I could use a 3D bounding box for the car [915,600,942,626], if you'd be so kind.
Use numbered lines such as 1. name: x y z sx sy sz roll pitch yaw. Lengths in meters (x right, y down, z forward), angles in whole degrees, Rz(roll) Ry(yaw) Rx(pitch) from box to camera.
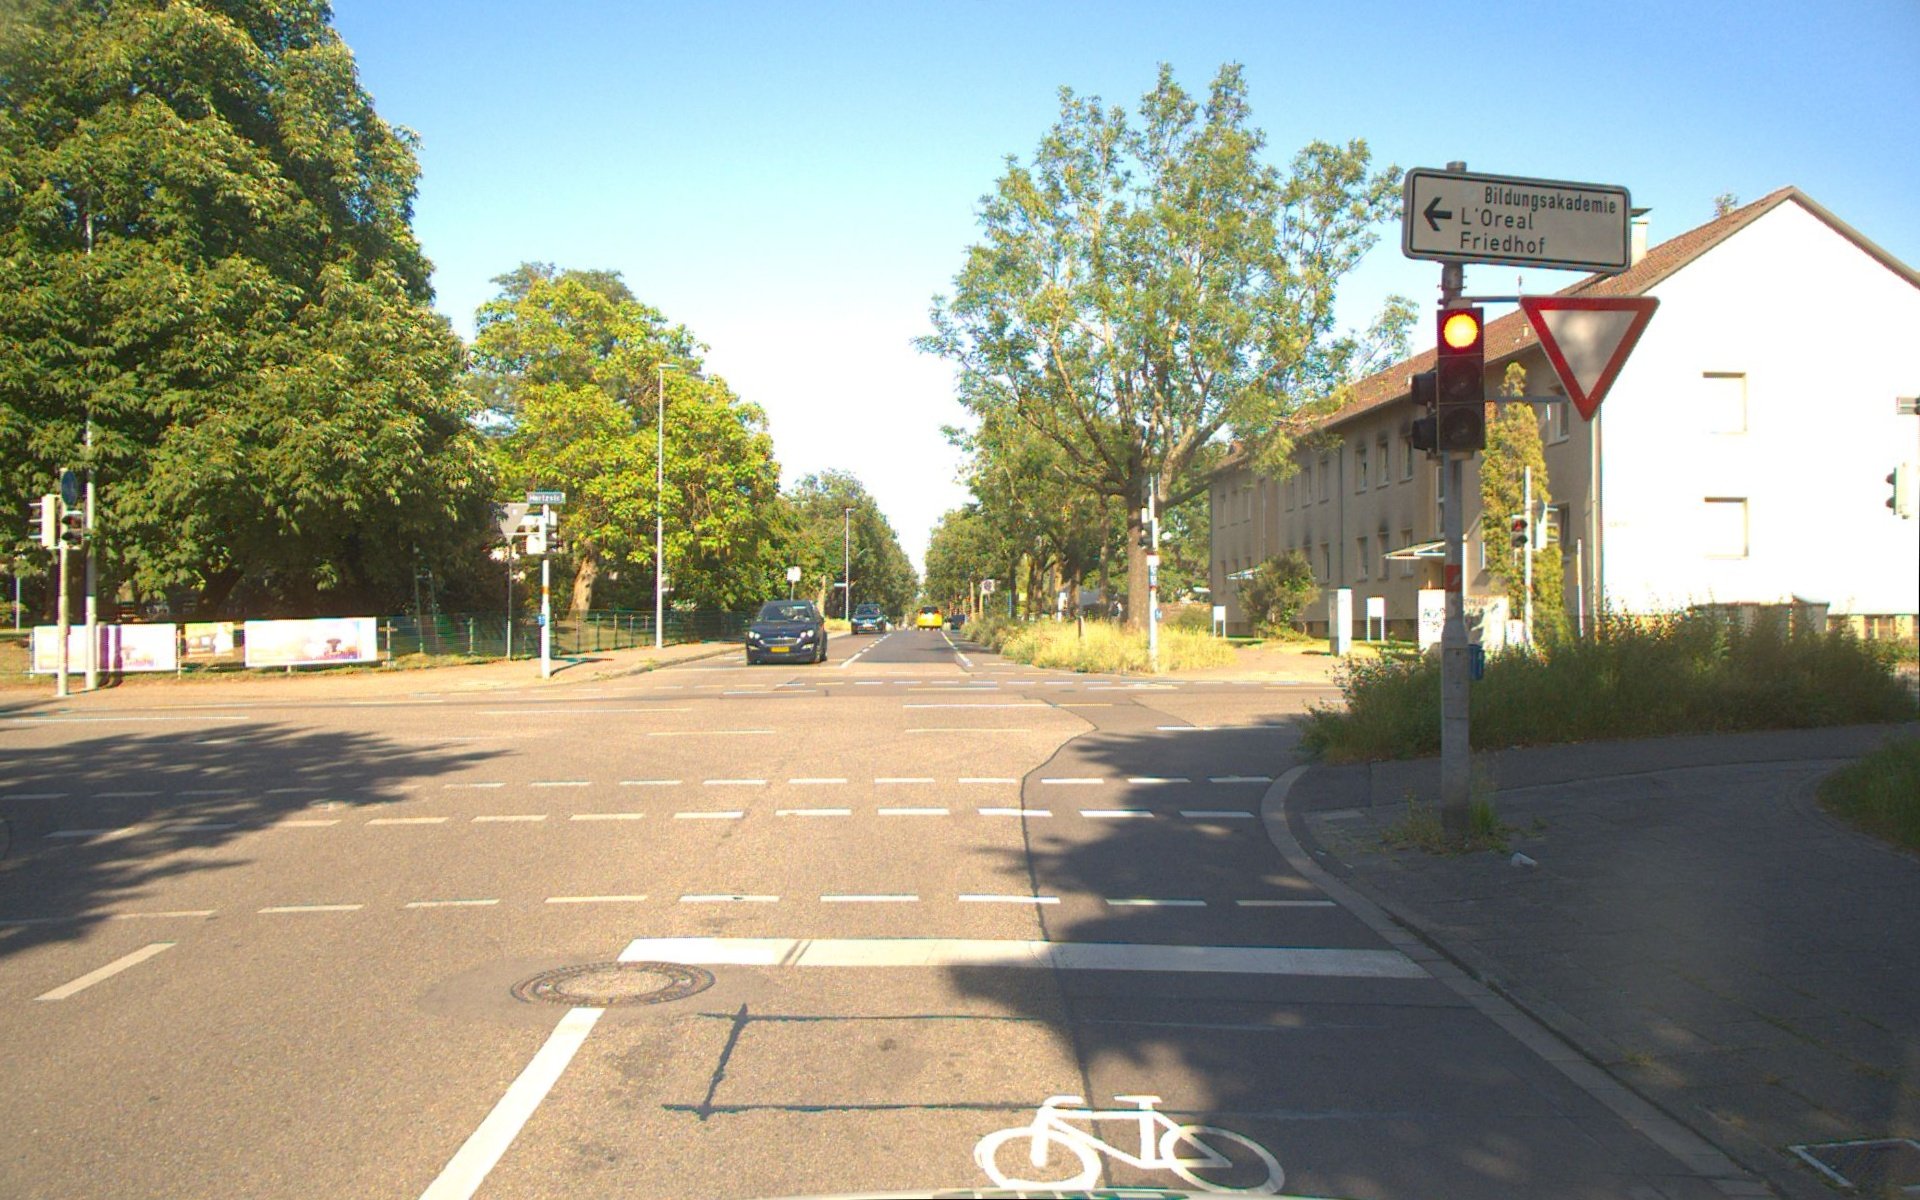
1. car: -2.057 0.857 109.434 1.716 1.610 3.999 1 0 -1

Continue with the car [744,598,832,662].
1. car: -3.962 0.665 38.545 1.676 1.410 3.471 0 0 0

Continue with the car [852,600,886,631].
1. car: -5.030 0.845 91.662 1.722 1.653 3.268 0 0 0

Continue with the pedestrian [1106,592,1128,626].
1. pedestrian: 7.077 0.397 74.632 0.825 1.519 0.924 2 0 -1

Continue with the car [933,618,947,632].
1. car: -2.664 3.334 219.148 1.737 1.785 3.999 1 0 -1
